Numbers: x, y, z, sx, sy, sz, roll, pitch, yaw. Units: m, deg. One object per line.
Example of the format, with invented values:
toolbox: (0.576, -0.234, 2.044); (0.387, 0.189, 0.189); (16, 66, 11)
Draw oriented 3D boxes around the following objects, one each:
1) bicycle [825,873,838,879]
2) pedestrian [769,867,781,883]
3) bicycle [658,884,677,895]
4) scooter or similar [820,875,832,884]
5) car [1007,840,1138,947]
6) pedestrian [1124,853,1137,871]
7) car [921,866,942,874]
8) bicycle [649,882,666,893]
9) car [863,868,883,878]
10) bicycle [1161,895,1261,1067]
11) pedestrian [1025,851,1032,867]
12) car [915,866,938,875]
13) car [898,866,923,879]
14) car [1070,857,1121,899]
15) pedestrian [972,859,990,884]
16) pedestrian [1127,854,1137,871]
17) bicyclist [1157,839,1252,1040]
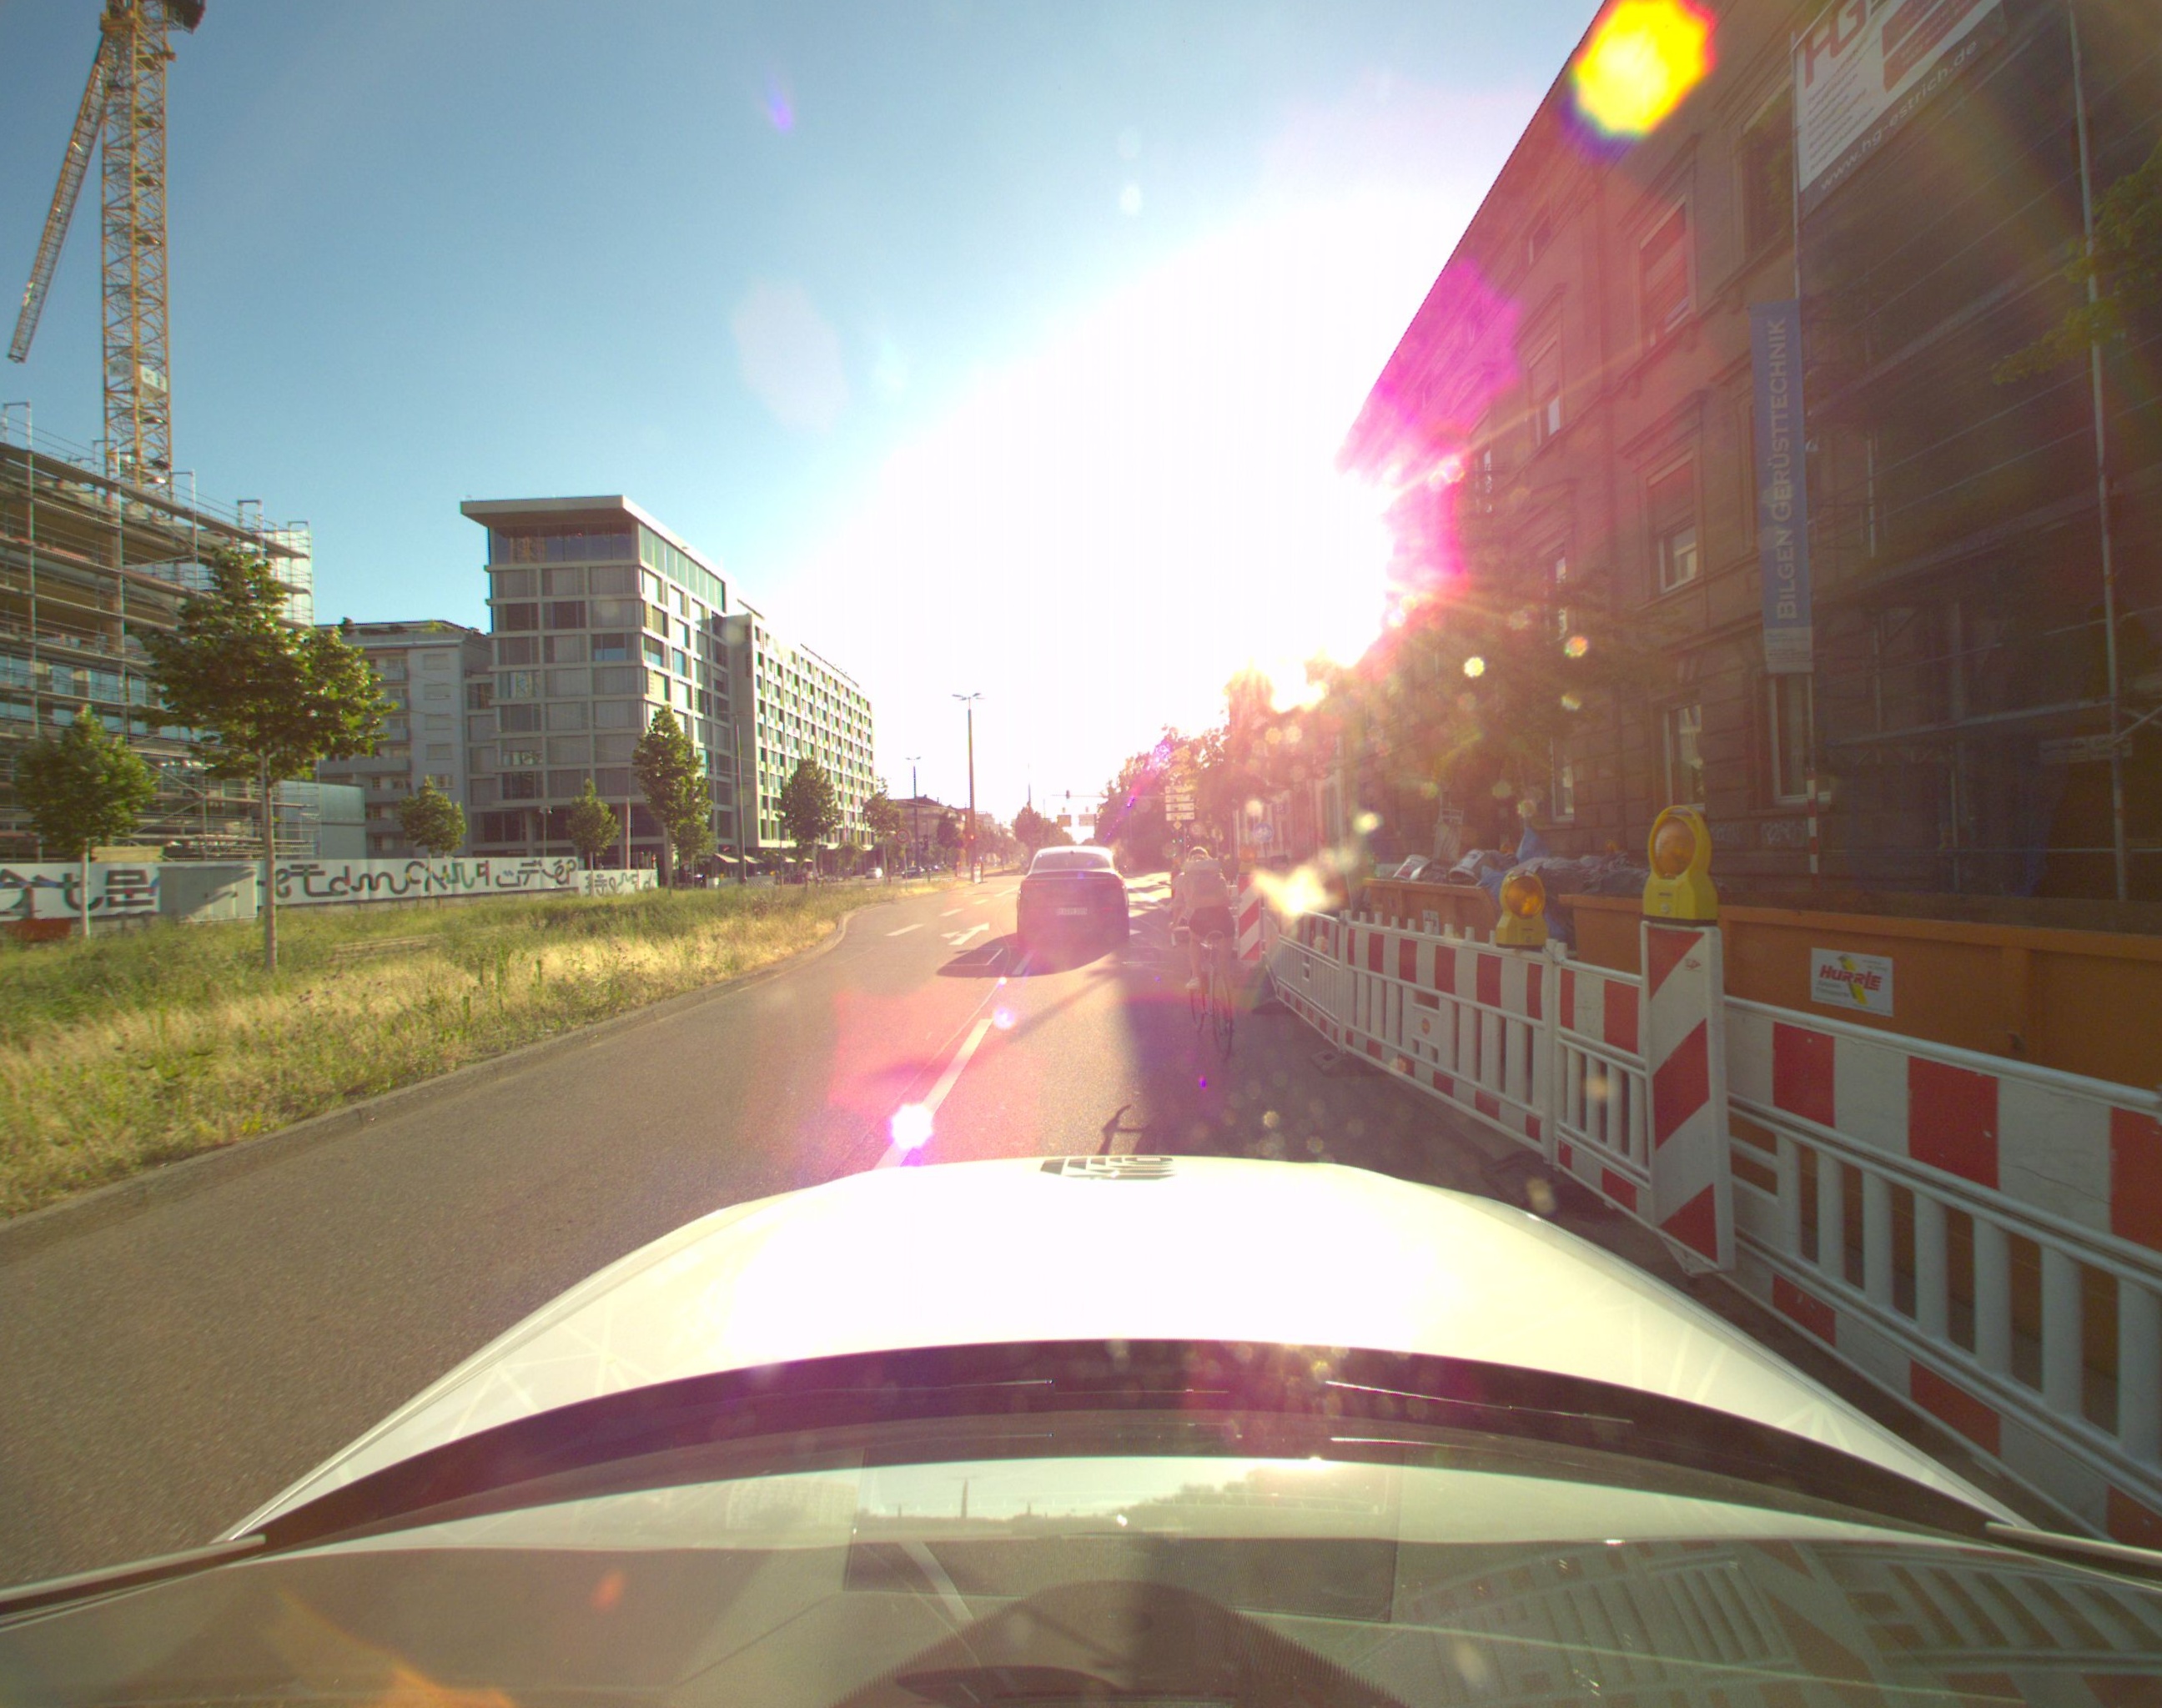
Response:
bicycle: (-37.220, 3.272, 121.585); (1.801, 0.905, 0.511); (-2, -1, -6)
pedestrian: (-33.521, 2.285, 89.329); (0.864, 1.721, 0.806); (-2, -1, 10)
bicycle: (-38.823, 3.346, 76.487); (0.616, 0.936, 2.216); (-2, 0, 0)
scooter or similar: (-30.396, 3.088, 97.154); (1.239, 1.019, 0.435); (-3, -1, 1)
car: (-0.317, 0.649, 15.714); (1.993, 1.734, 3.989); (-1, 0, -8)
pedestrian: (5.151, 0.851, 84.605); (0.863, 1.802, 0.898); (-4, -1, -34)
car: (-29.435, 3.176, 160.227); (3.644, 1.523, 1.602); (0, -1, -40)
bicycle: (-39.714, 3.152, 76.446); (0.534, 0.936, 1.901); (-2, 0, 0)
car: (-29.784, 2.760, 116.928); (1.750, 1.328, 4.001); (-1, 0, 1)
bicycle: (1.011, 0.950, 6.694); (0.519, 1.097, 1.843); (-2, 0, 1)
pedestrian: (-5.490, 0.529, 85.029); (0.595, 1.699, 0.715); (-3, -1, 6)
car: (-29.677, 3.136, 156.519); (4.117, 1.601, 1.729); (1, -1, -40)
car: (-20.037, 2.176, 95.969); (1.885, 1.343, 4.850); (-2, 0, 0)
car: (0.556, 0.926, 32.957); (1.891, 1.527, 4.058); (-2, 0, 0)
pedestrian: (-6.722, 1.149, 54.596); (0.918, 1.649, 0.768); (-3, -1, 12)
pedestrian: (5.199, 0.895, 83.781); (0.766, 1.636, 0.767); (-4, 0, -9)
bicyclist: (0.976, 0.639, 6.665); (0.550, 1.491, 1.081); (-2, 0, 0)
